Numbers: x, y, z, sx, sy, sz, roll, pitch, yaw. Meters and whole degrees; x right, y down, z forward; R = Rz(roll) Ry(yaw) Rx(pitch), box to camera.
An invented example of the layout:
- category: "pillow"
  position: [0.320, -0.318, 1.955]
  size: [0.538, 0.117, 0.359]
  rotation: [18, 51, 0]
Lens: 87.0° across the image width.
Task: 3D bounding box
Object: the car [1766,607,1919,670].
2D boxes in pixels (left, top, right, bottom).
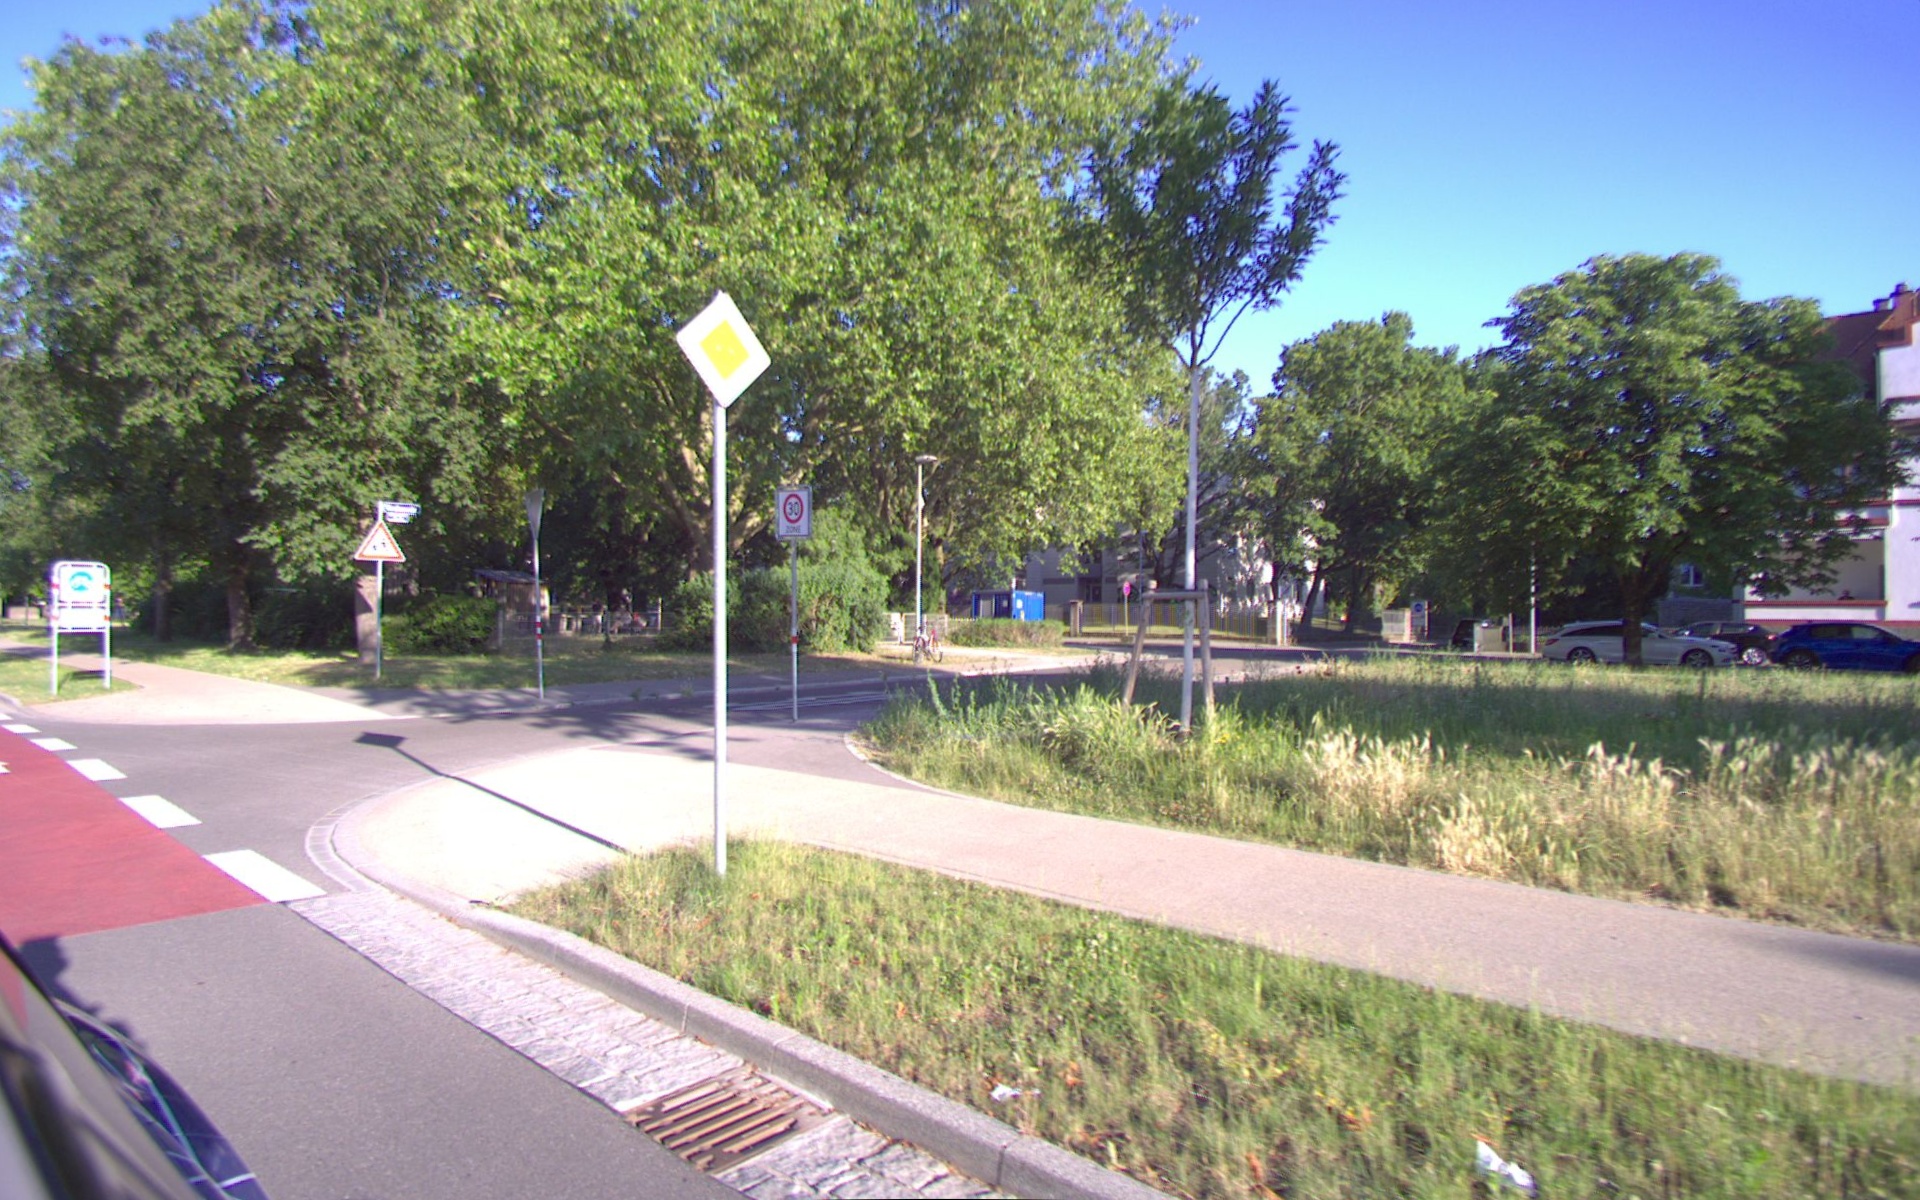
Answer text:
- category: "car"
  position: [24.306, 1.012, 27.112]
  size: [4.216, 1.609, 1.676]
  rotation: [-1, -1, 38]

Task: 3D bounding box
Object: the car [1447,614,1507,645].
- category: "car"
  position: [27.255, 1.536, 53.263]
  size: [1.833, 1.567, 3.944]
  rotation: [-1, -2, 42]

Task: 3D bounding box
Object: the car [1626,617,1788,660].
- category: "car"
  position: [24.614, 1.225, 33.449]
  size: [4.216, 1.325, 1.676]
  rotation: [-1, -1, 38]

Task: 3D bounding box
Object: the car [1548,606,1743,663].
- category: "car"
  position: [20.504, 0.991, 30.381]
  size: [4.750, 1.609, 1.676]
  rotation: [-1, -1, 38]

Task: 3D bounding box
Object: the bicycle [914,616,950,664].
- category: "bicycle"
  position: [-0.728, 1.030, 26.527]
  size: [0.417, 1.196, 1.579]
  rotation: [1, -1, 18]
